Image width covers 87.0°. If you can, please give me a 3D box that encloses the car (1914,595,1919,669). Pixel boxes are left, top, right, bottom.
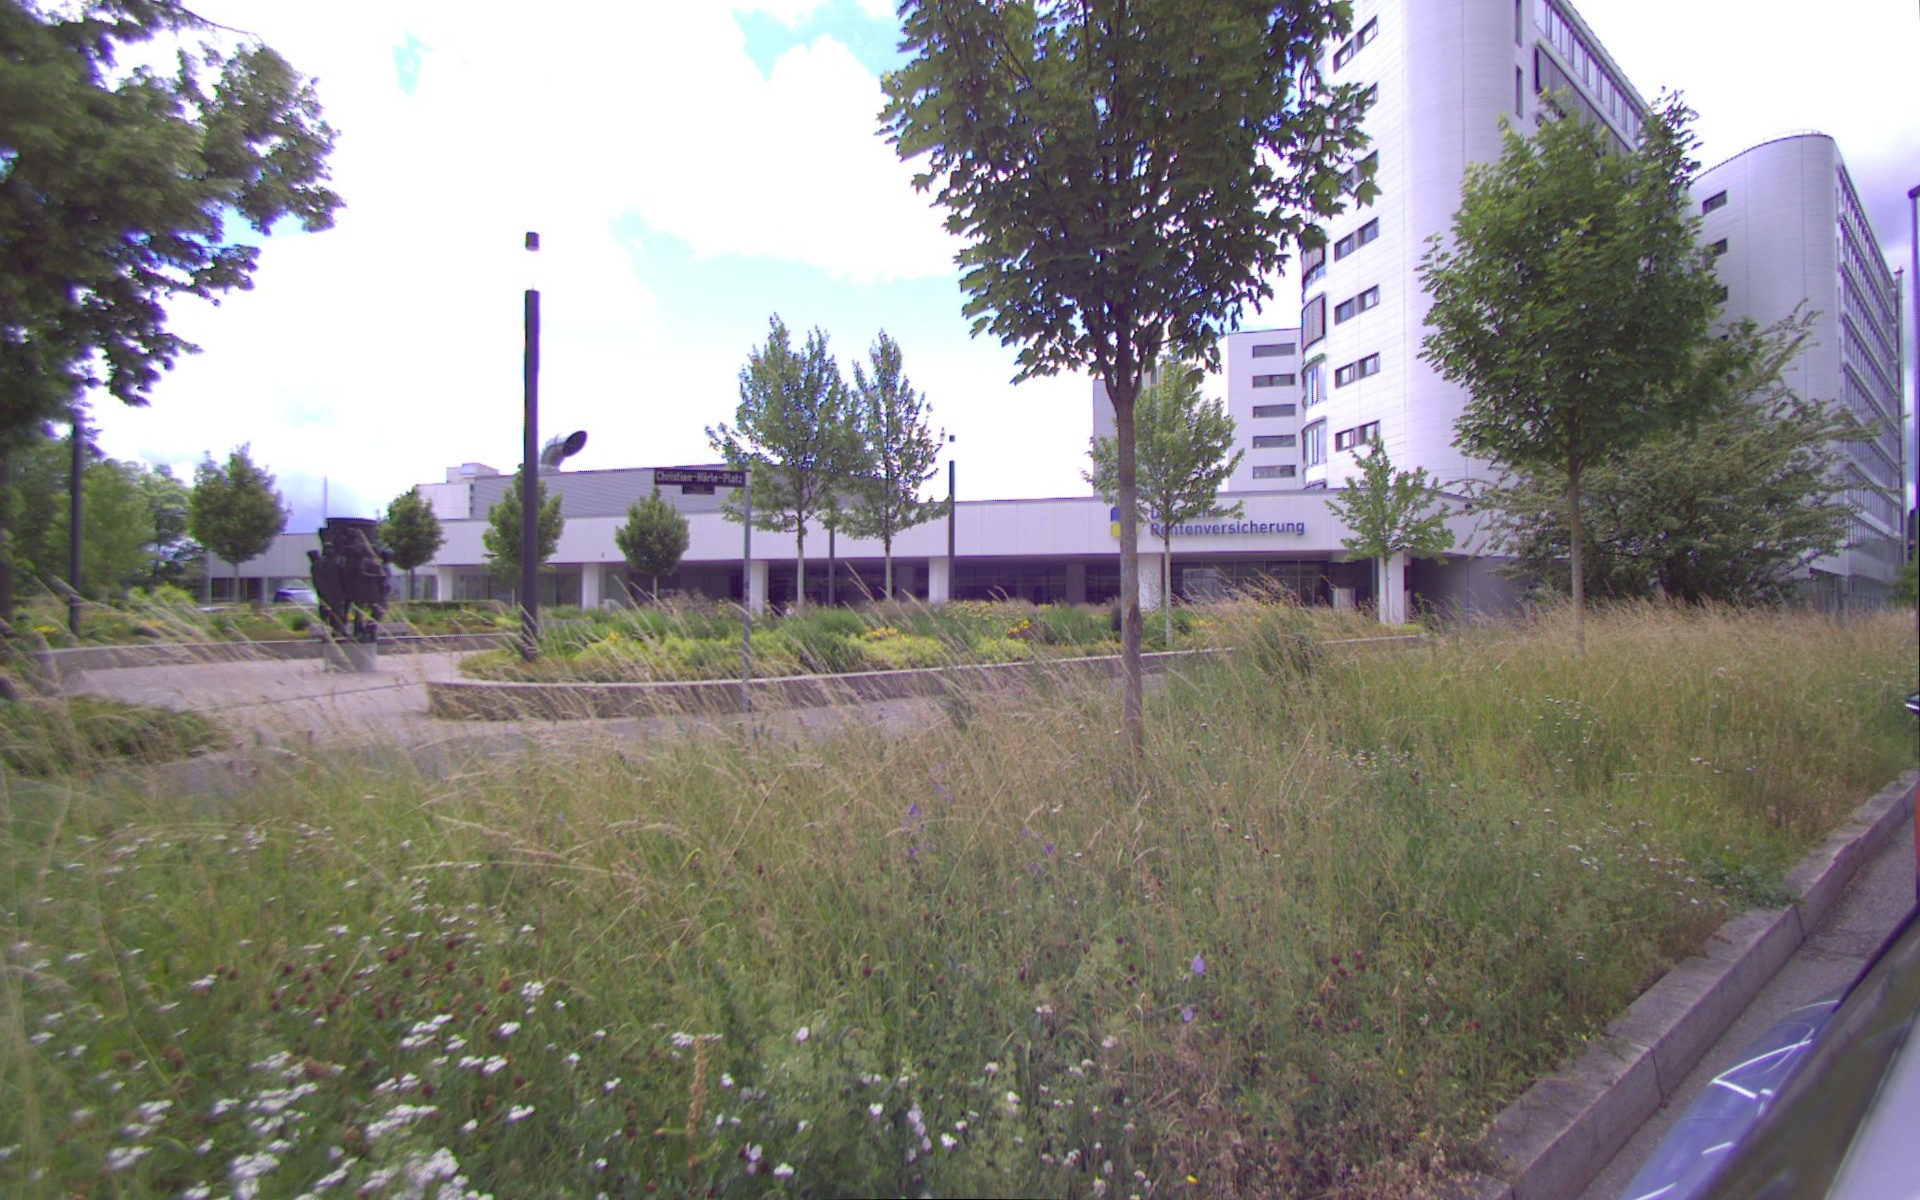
[{"bbox_3d":[22.599,0.710,22.501,3.386,1.594,1.736,0,0,-42],"label":"car"}]

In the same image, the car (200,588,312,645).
[{"bbox_3d":[-23.394,0.517,33.624,3.470,1.788,1.623,0,0,27],"label":"car"}]

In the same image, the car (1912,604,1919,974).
[{"bbox_3d":[5.907,0.751,4.761,3.930,1.498,1.691,-1,0,-41],"label":"car"}]

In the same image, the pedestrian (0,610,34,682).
[{"bbox_3d":[-17.474,0.839,18.683,0.560,1.278,0.581,0,0,-43],"label":"pedestrian"}]

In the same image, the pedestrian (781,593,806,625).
[{"bbox_3d":[-6.806,0.360,41.459,0.869,1.290,0.704,1,0,2],"label":"pedestrian"}]
